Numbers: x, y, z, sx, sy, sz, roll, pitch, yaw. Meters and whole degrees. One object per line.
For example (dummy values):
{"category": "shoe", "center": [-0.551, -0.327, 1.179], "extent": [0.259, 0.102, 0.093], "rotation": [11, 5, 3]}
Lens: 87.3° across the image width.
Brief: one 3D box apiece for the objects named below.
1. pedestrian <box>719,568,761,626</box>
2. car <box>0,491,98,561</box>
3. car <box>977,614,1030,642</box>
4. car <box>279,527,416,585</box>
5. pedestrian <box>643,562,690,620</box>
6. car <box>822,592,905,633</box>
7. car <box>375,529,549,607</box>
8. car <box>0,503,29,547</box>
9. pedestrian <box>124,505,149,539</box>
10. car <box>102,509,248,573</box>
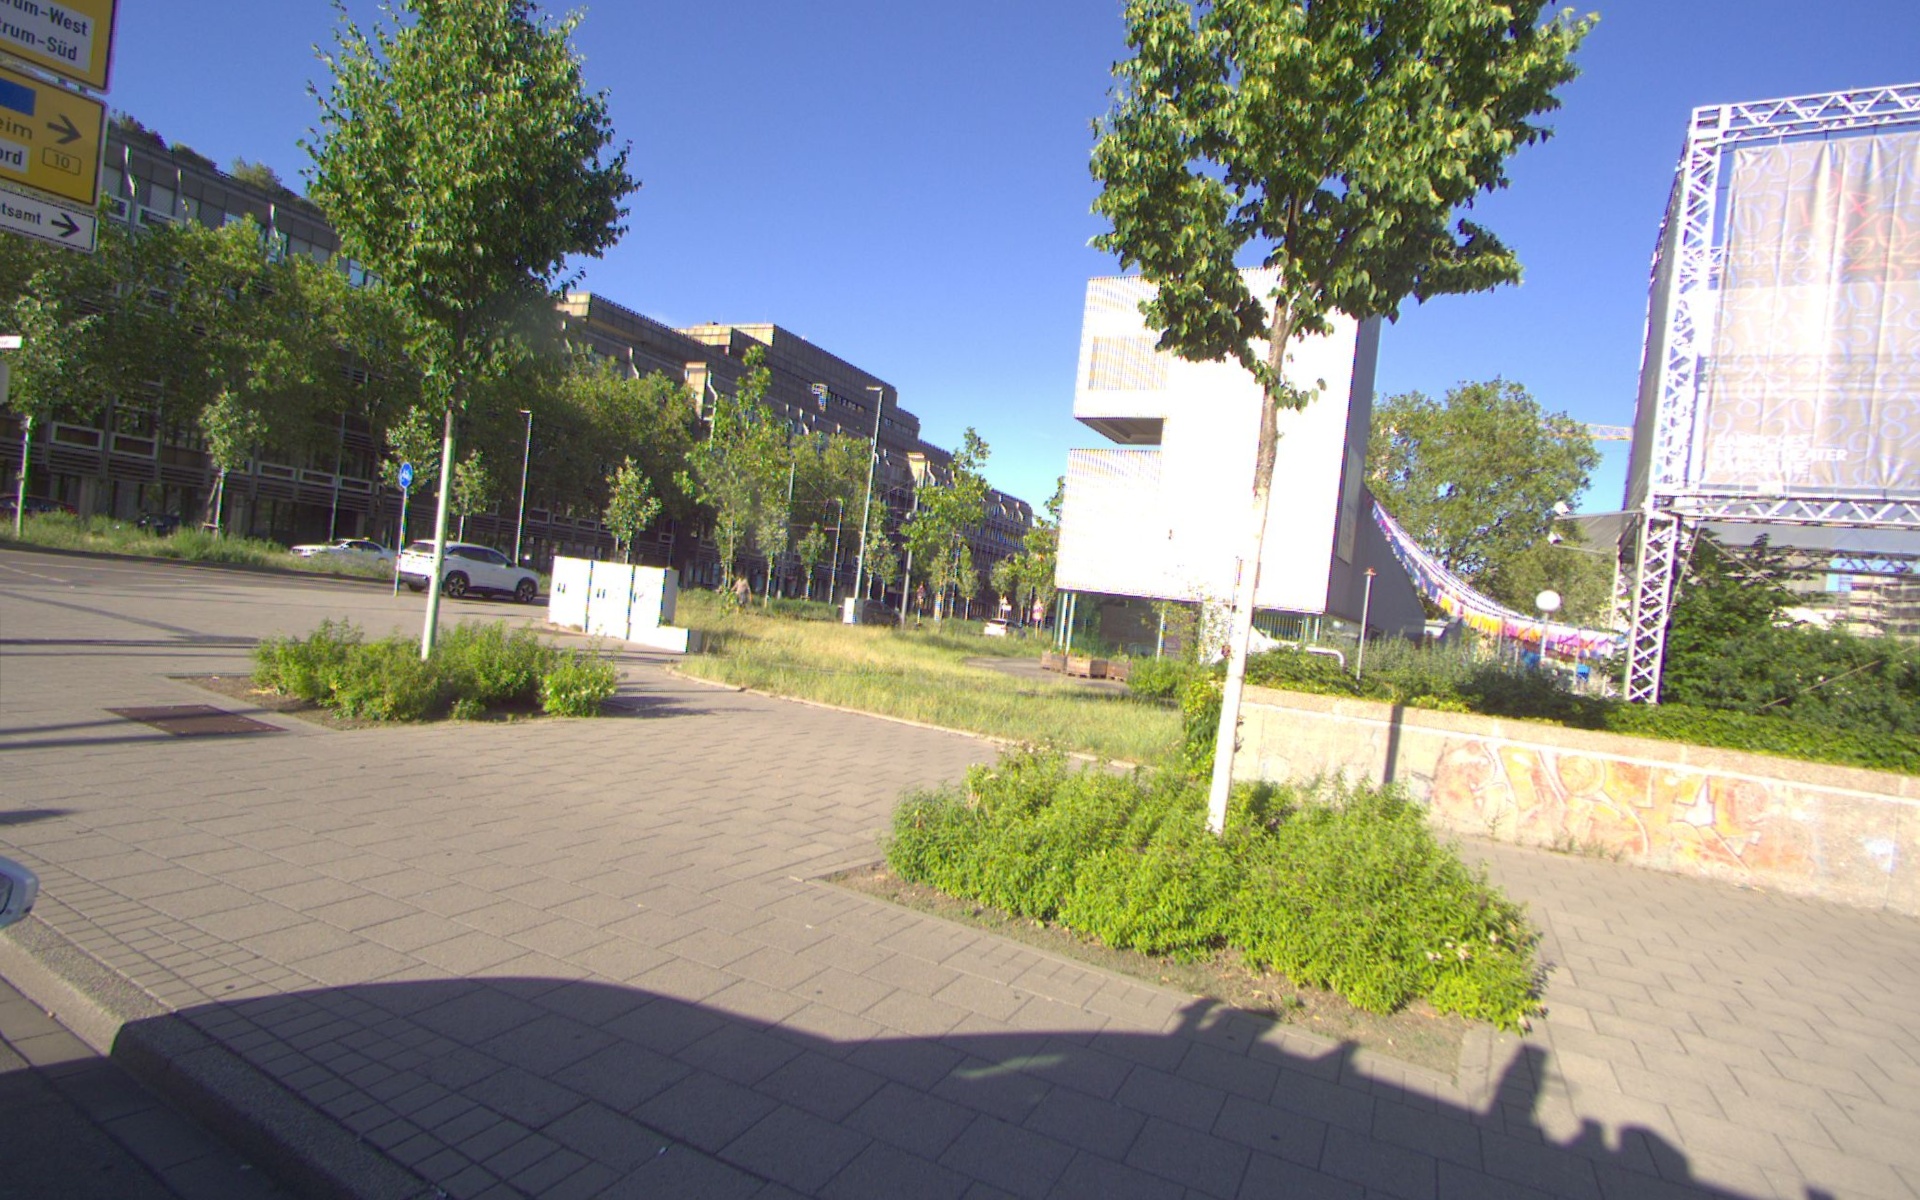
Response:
{"category": "pedestrian", "center": [-7.145, -0.091, 32.650], "extent": [0.925, 1.750, 0.695], "rotation": [7, 1, 18]}
{"category": "car", "center": [-33.310, -2.709, 35.369], "extent": [1.966, 2.037, 3.997], "rotation": [6, -2, 29]}
{"category": "car", "center": [3.105, 1.960, 70.242], "extent": [1.964, 1.546, 4.700], "rotation": [7, -1, 24]}
{"category": "car", "center": [-30.672, -2.181, 50.579], "extent": [2.062, 2.036, 5.455], "rotation": [6, -2, 29]}
{"category": "pedestrian", "center": [-9.028, -0.257, 30.944], "extent": [0.925, 1.650, 0.803], "rotation": [7, 1, 18]}
{"category": "car", "center": [-5.083, 0.706, 53.830], "extent": [1.965, 1.621, 4.950], "rotation": [9, 0, 26]}
{"category": "car", "center": [-14.849, -0.885, 30.283], "extent": [1.963, 1.679, 4.408], "rotation": [8, -1, 20]}
{"category": "car", "center": [-37.240, -3.041, 36.939], "extent": [1.836, 1.525, 3.997], "rotation": [7, -2, 29]}
{"category": "pedestrian", "center": [-43.756, -4.159, 53.445], "extent": [0.728, 1.678, 0.665], "rotation": [7, 1, 25]}
{"category": "car", "center": [-34.108, -2.528, 43.876], "extent": [1.965, 2.036, 4.458], "rotation": [7, -2, 27]}
